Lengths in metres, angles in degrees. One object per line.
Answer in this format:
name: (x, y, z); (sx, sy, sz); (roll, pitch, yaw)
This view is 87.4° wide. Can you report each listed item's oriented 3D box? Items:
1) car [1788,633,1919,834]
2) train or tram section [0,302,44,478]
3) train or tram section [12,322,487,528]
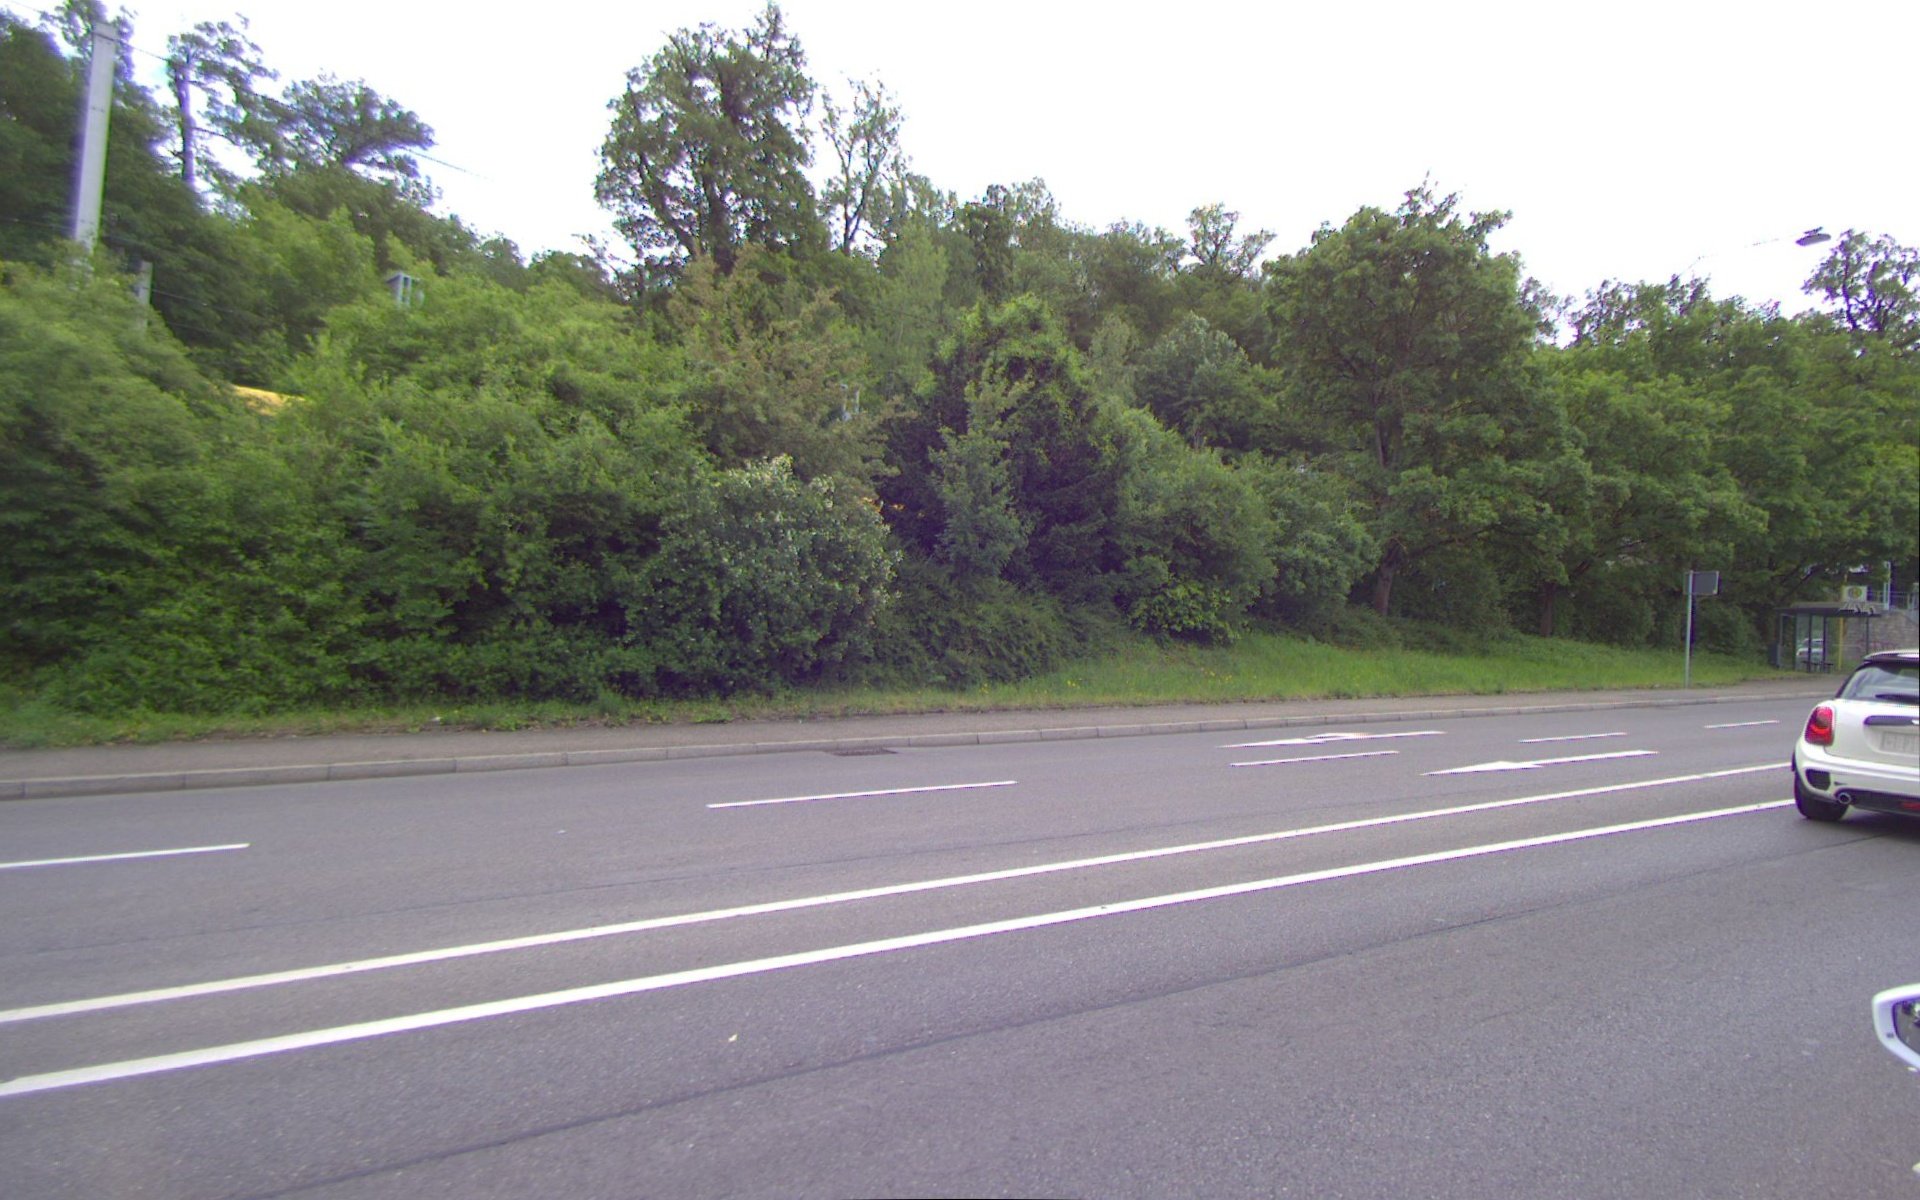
car: (8.383, 1.016, 8.018); (3.524, 1.412, 1.620); (2, -2, -30)
train or tram section: (-21.667, -4.239, 17.493); (8.067, 3.083, 2.045); (4, 0, -33)
train or tram section: (-15.039, -3.527, 22.090); (8.067, 3.083, 2.045); (4, 0, -33)
